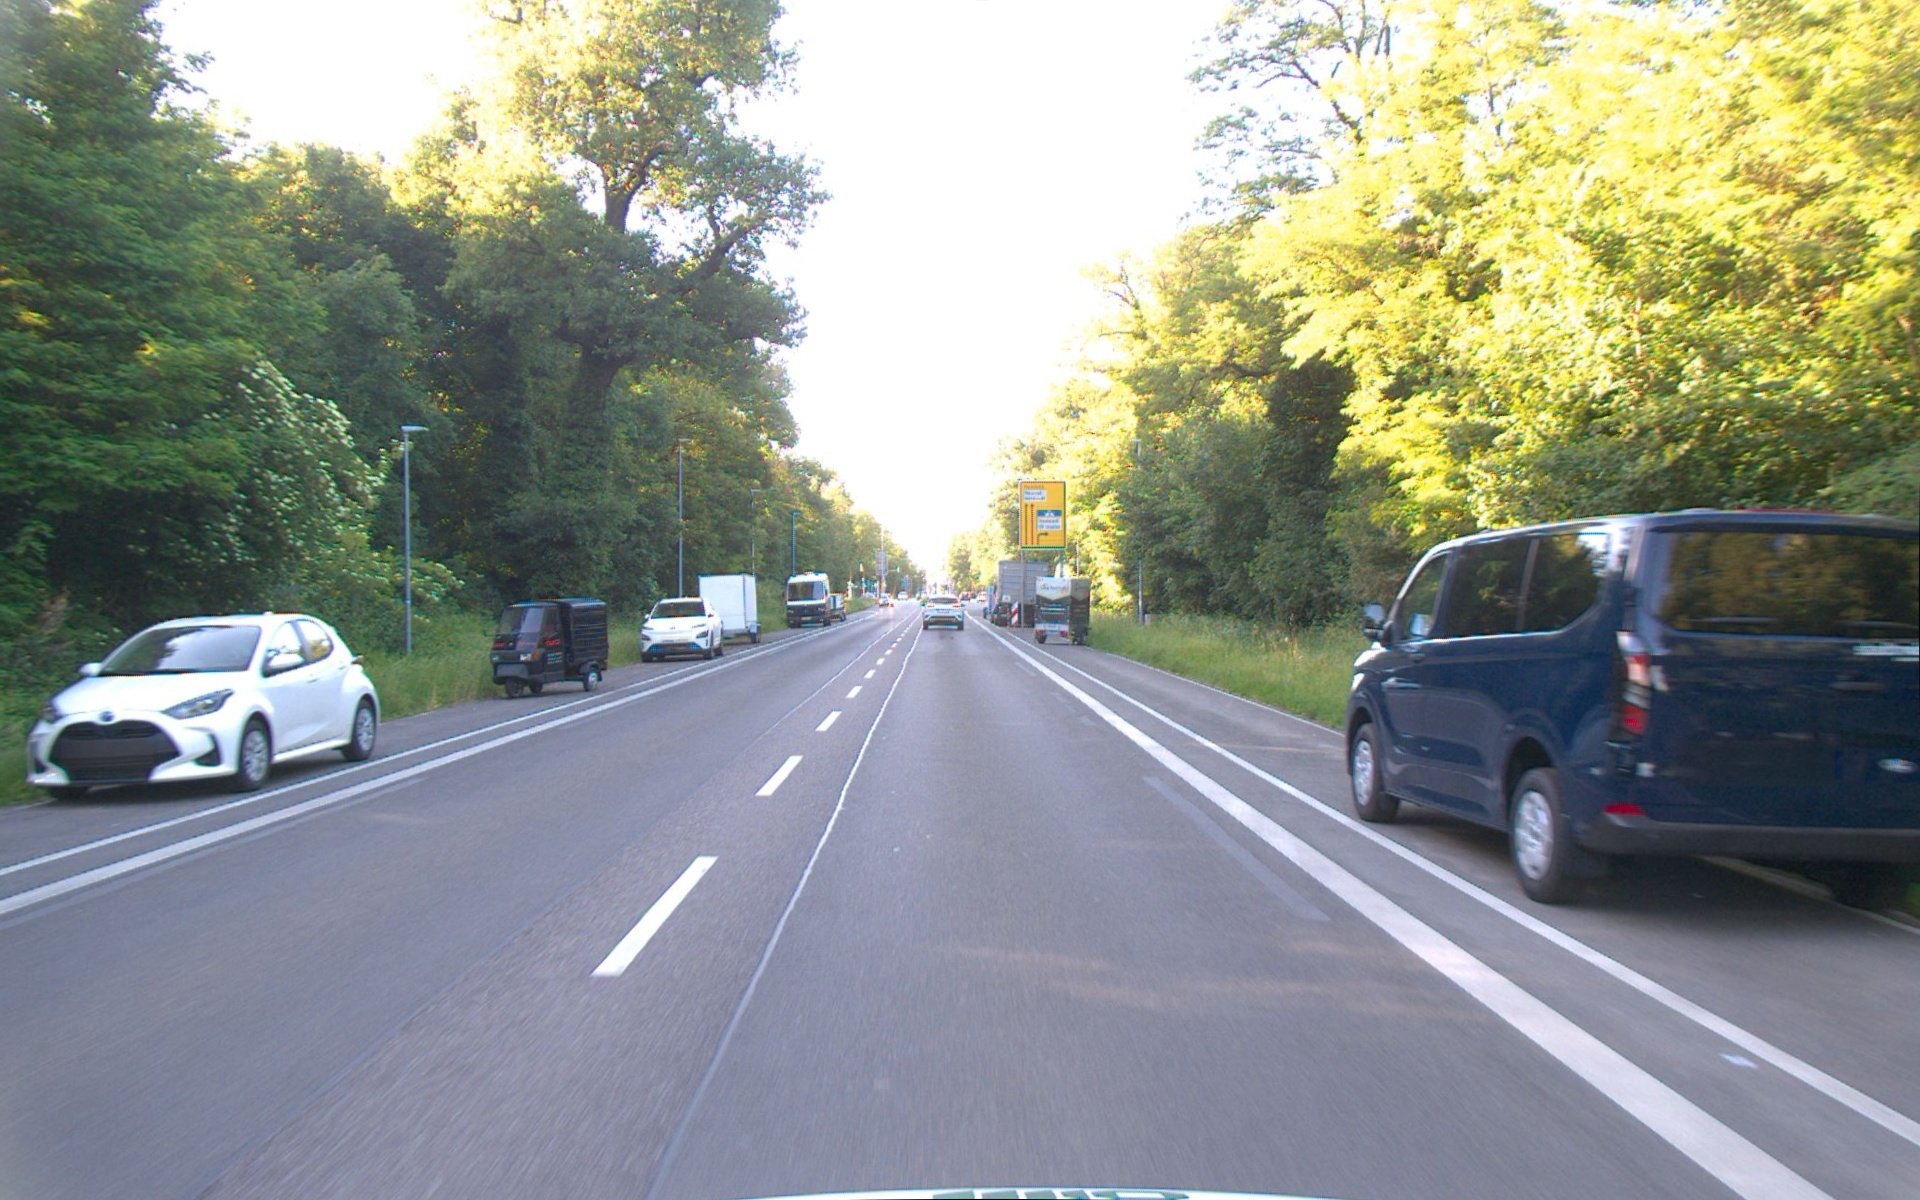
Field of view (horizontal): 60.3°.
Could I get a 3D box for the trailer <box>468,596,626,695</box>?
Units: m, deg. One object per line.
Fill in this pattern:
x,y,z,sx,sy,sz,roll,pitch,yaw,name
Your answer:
-6.995,0.736,28.196,1.366,1.601,2.675,0,0,19,trailer

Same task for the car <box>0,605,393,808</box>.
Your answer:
-6.794,0.848,15.078,1.829,1.476,4.070,-3,0,-1,car

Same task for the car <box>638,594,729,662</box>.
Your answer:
-7.098,0.677,42.842,1.778,1.599,4.205,-2,0,-3,car

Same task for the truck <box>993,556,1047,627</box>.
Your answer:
2.992,-0.405,84.089,2.454,3.425,7.106,1,0,0,truck

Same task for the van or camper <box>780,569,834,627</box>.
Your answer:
-8.024,-0.113,87.209,2.255,2.816,5.556,-3,0,-1,van or camper

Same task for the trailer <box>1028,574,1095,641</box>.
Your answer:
3.367,0.242,54.541,1.580,2.149,2.397,0,0,20,trailer

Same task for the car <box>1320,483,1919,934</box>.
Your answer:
3.845,0.501,10.217,2.070,2.049,5.039,2,0,0,car

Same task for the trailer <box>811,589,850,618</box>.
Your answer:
-7.873,0.228,100.639,1.439,1.688,3.368,-2,0,12,trailer

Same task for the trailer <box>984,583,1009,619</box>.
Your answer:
2.354,0.061,107.750,1.469,2.274,4.549,1,0,0,trailer

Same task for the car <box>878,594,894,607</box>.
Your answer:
-8.488,0.016,190.300,1.644,1.440,4.000,-1,0,0,car

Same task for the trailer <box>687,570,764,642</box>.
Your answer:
-7.979,0.195,56.478,2.032,2.333,3.487,-1,0,1,trailer

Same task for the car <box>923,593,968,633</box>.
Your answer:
-0.650,0.554,72.916,1.953,1.668,3.999,-1,0,-1,car
